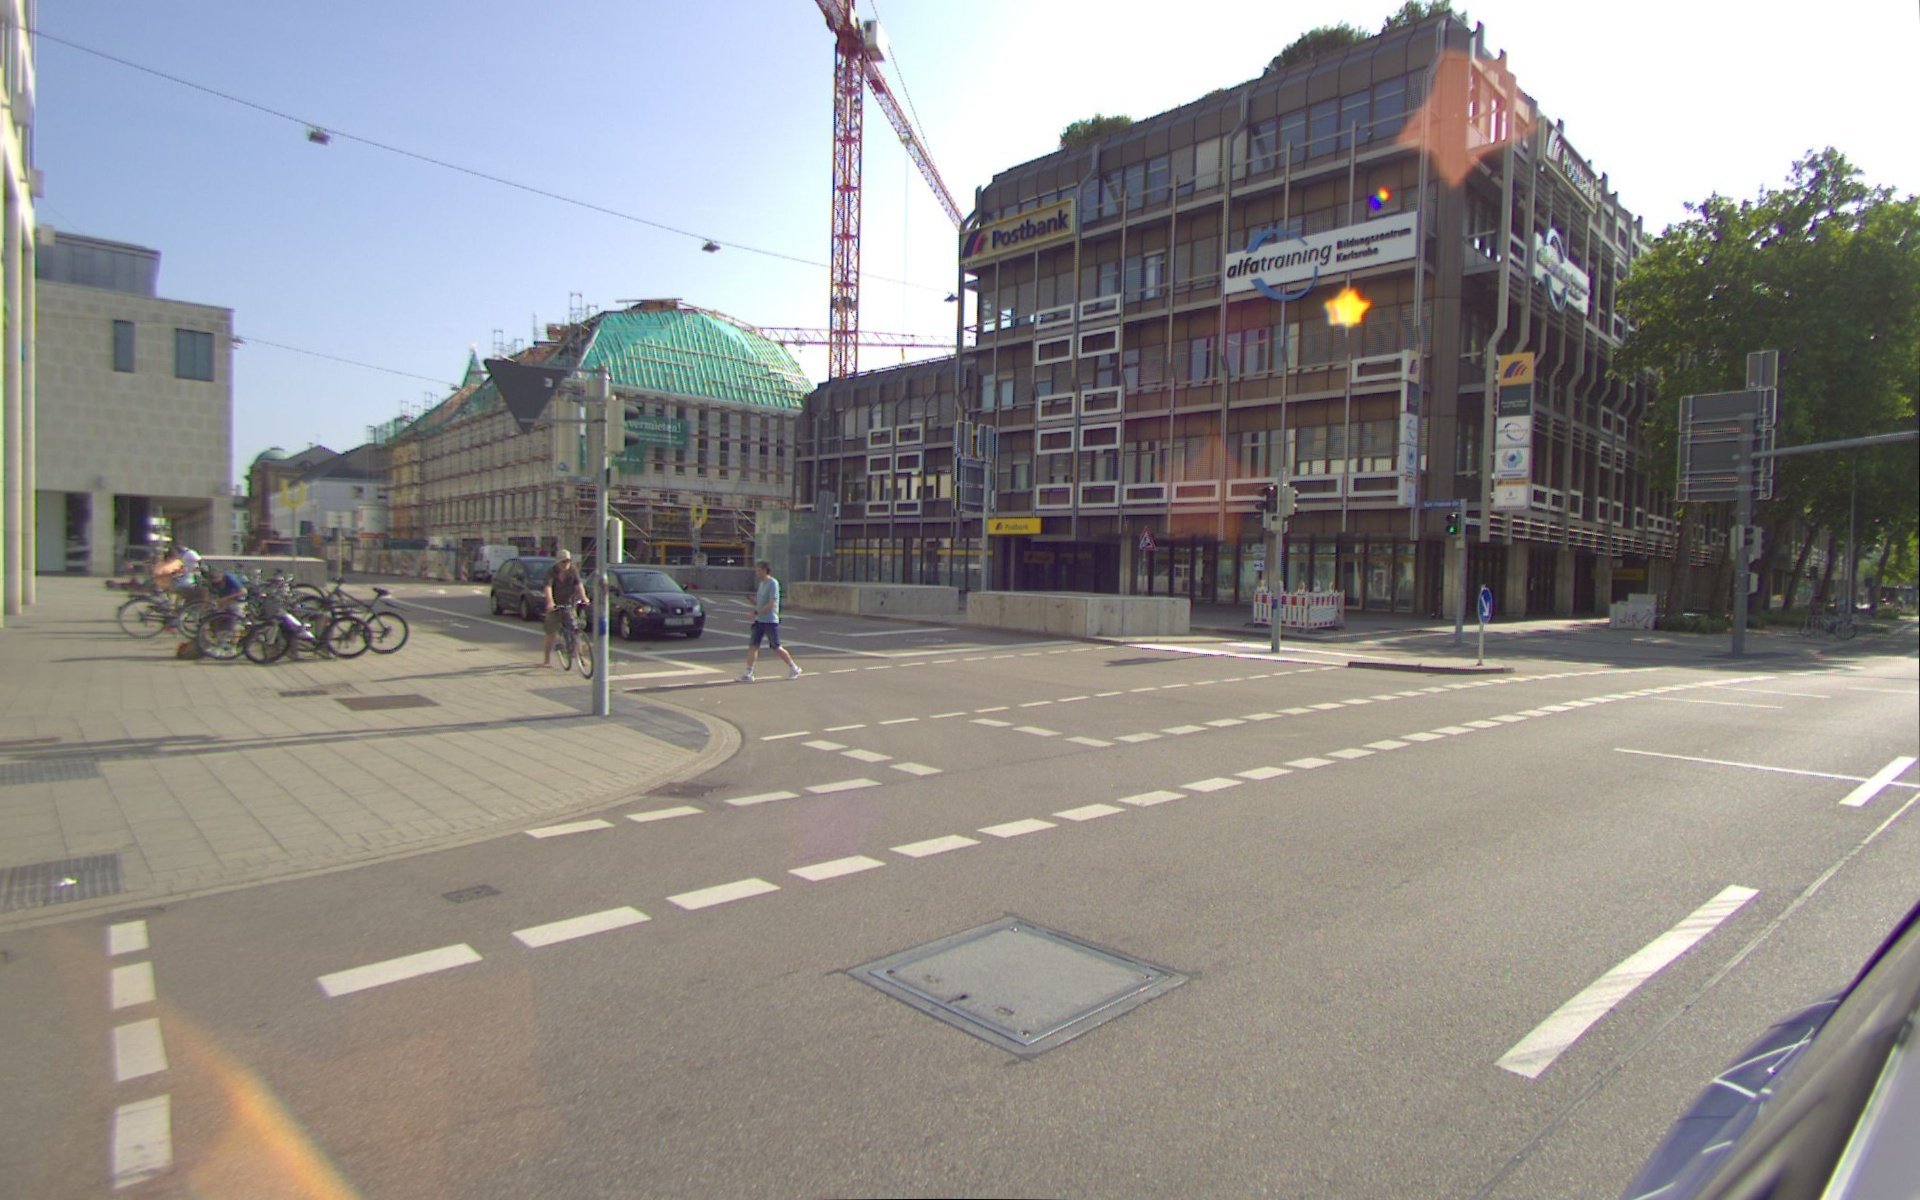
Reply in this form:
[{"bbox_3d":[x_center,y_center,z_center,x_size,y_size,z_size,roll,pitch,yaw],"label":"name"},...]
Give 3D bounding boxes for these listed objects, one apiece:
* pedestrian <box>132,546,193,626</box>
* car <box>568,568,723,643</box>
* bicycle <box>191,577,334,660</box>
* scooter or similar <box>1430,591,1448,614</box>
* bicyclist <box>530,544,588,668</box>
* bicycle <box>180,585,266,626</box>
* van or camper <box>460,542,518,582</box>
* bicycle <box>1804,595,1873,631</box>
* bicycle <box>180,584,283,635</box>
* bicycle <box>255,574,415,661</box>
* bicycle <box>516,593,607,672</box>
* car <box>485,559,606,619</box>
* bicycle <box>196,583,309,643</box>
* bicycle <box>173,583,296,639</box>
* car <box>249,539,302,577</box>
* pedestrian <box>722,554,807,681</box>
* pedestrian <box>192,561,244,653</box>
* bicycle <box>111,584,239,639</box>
[{"bbox_3d":[-15.460,-0.276,19.627,0.594,1.504,0.735,1,1,15],"label":"pedestrian"},{"bbox_3d":[-6.788,0.034,21.601,1.844,1.383,3.902,-1,3,-39],"label":"car"},{"bbox_3d":[-10.735,0.260,15.627,0.500,1.214,1.764,2,2,44],"label":"bicycle"},{"bbox_3d":[17.846,0.093,37.690,0.943,0.853,0.279,0,2,-45],"label":"scooter or similar"},{"bbox_3d":[-5.864,0.076,14.784,0.573,1.759,0.635,0,2,-44],"label":"bicyclist"},{"bbox_3d":[-18.241,0.117,25.072,0.459,0.968,1.688,2,2,45],"label":"bicycle"},{"bbox_3d":[-29.679,-2.404,63.669,1.965,2.439,5.138,0,2,-41],"label":"van or camper"},{"bbox_3d":[32.905,0.473,37.917,0.527,1.202,1.832,0,3,-38],"label":"bicycle"},{"bbox_3d":[-14.343,0.173,19.959,1.638,0.968,0.460,0,2,-35],"label":"bicycle"},{"bbox_3d":[-9.691,0.241,15.749,2.035,1.252,0.614,-1,2,-43],"label":"bicycle"},{"bbox_3d":[-5.834,0.440,14.761,0.602,1.030,1.804,0,2,-43],"label":"bicycle"},{"bbox_3d":[-10.796,-0.325,26.201,1.845,1.420,3.910,-1,2,-39],"label":"car"},{"bbox_3d":[-12.015,0.202,17.226,1.558,0.968,0.460,0,2,-35],"label":"bicycle"},{"bbox_3d":[-13.285,0.189,18.580,1.820,0.968,0.460,0,2,-35],"label":"bicycle"},{"bbox_3d":[-45.820,-2.765,67.684,2.384,2.440,5.000,-1,1,-41],"label":"car"},{"bbox_3d":[-2.759,0.224,14.289,0.971,1.732,0.645,0,1,-36],"label":"pedestrian"},{"bbox_3d":[-11.502,0.096,15.686,0.510,1.373,0.540,2,2,39],"label":"pedestrian"},{"bbox_3d":[-14.301,0.197,18.487,1.820,0.968,0.460,0,2,-35],"label":"bicycle"}]
